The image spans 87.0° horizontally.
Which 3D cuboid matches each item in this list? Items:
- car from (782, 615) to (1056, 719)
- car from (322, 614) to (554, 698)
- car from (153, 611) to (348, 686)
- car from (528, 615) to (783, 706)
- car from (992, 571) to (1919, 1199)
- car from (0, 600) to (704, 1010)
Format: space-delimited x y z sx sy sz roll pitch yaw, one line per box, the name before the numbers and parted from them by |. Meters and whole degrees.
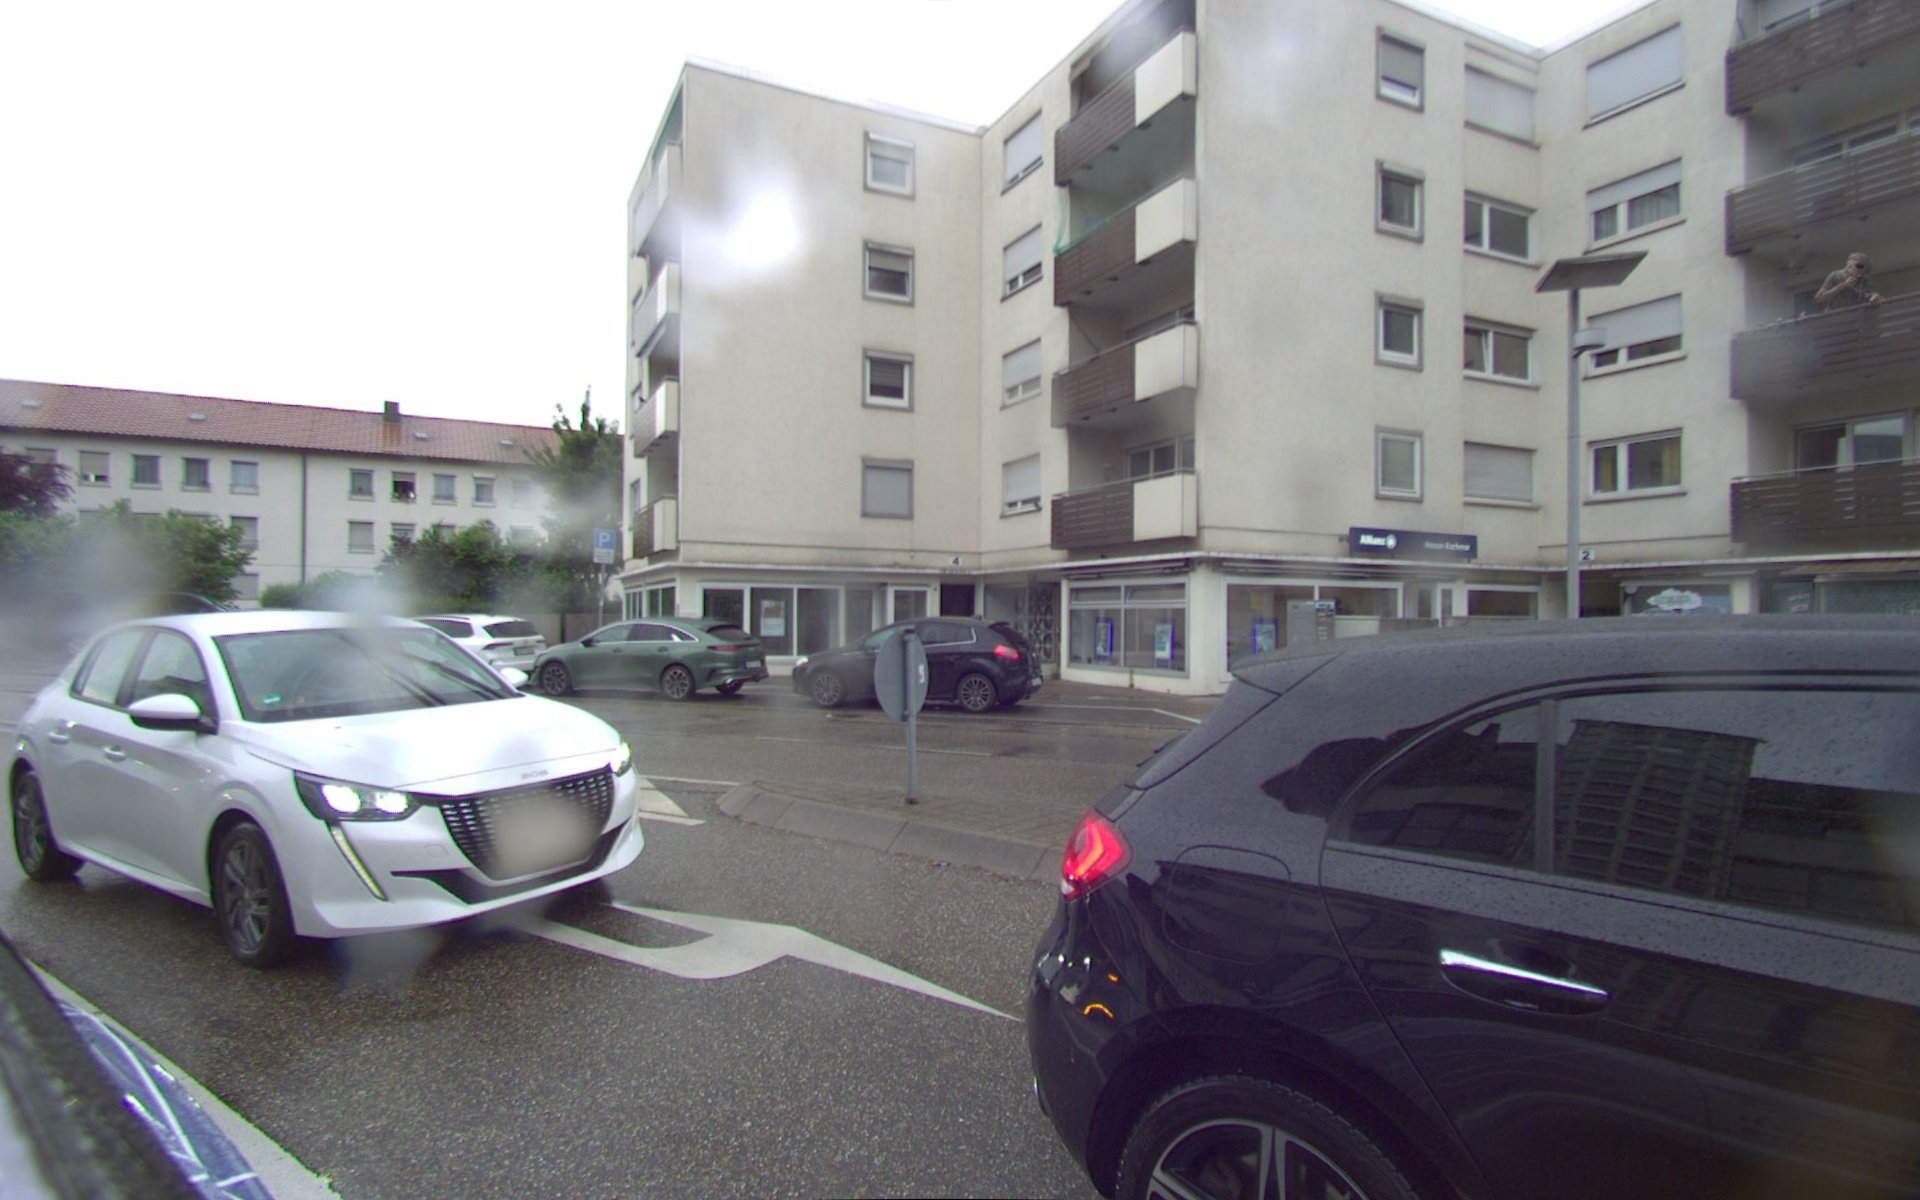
car | -0.656 1.024 16.634 4.156 1.471 1.825 0 0 20
car | -10.479 1.068 20.327 4.313 1.511 1.627 0 -1 20
car | -15.659 1.026 22.349 3.852 1.517 1.623 0 -1 20
car | -5.550 1.039 18.523 4.241 1.445 1.826 0 0 19
car | 2.167 0.686 1.310 4.090 1.492 1.646 -2 -1 40
car | -3.378 0.747 5.321 3.882 1.420 1.726 -1 0 31
